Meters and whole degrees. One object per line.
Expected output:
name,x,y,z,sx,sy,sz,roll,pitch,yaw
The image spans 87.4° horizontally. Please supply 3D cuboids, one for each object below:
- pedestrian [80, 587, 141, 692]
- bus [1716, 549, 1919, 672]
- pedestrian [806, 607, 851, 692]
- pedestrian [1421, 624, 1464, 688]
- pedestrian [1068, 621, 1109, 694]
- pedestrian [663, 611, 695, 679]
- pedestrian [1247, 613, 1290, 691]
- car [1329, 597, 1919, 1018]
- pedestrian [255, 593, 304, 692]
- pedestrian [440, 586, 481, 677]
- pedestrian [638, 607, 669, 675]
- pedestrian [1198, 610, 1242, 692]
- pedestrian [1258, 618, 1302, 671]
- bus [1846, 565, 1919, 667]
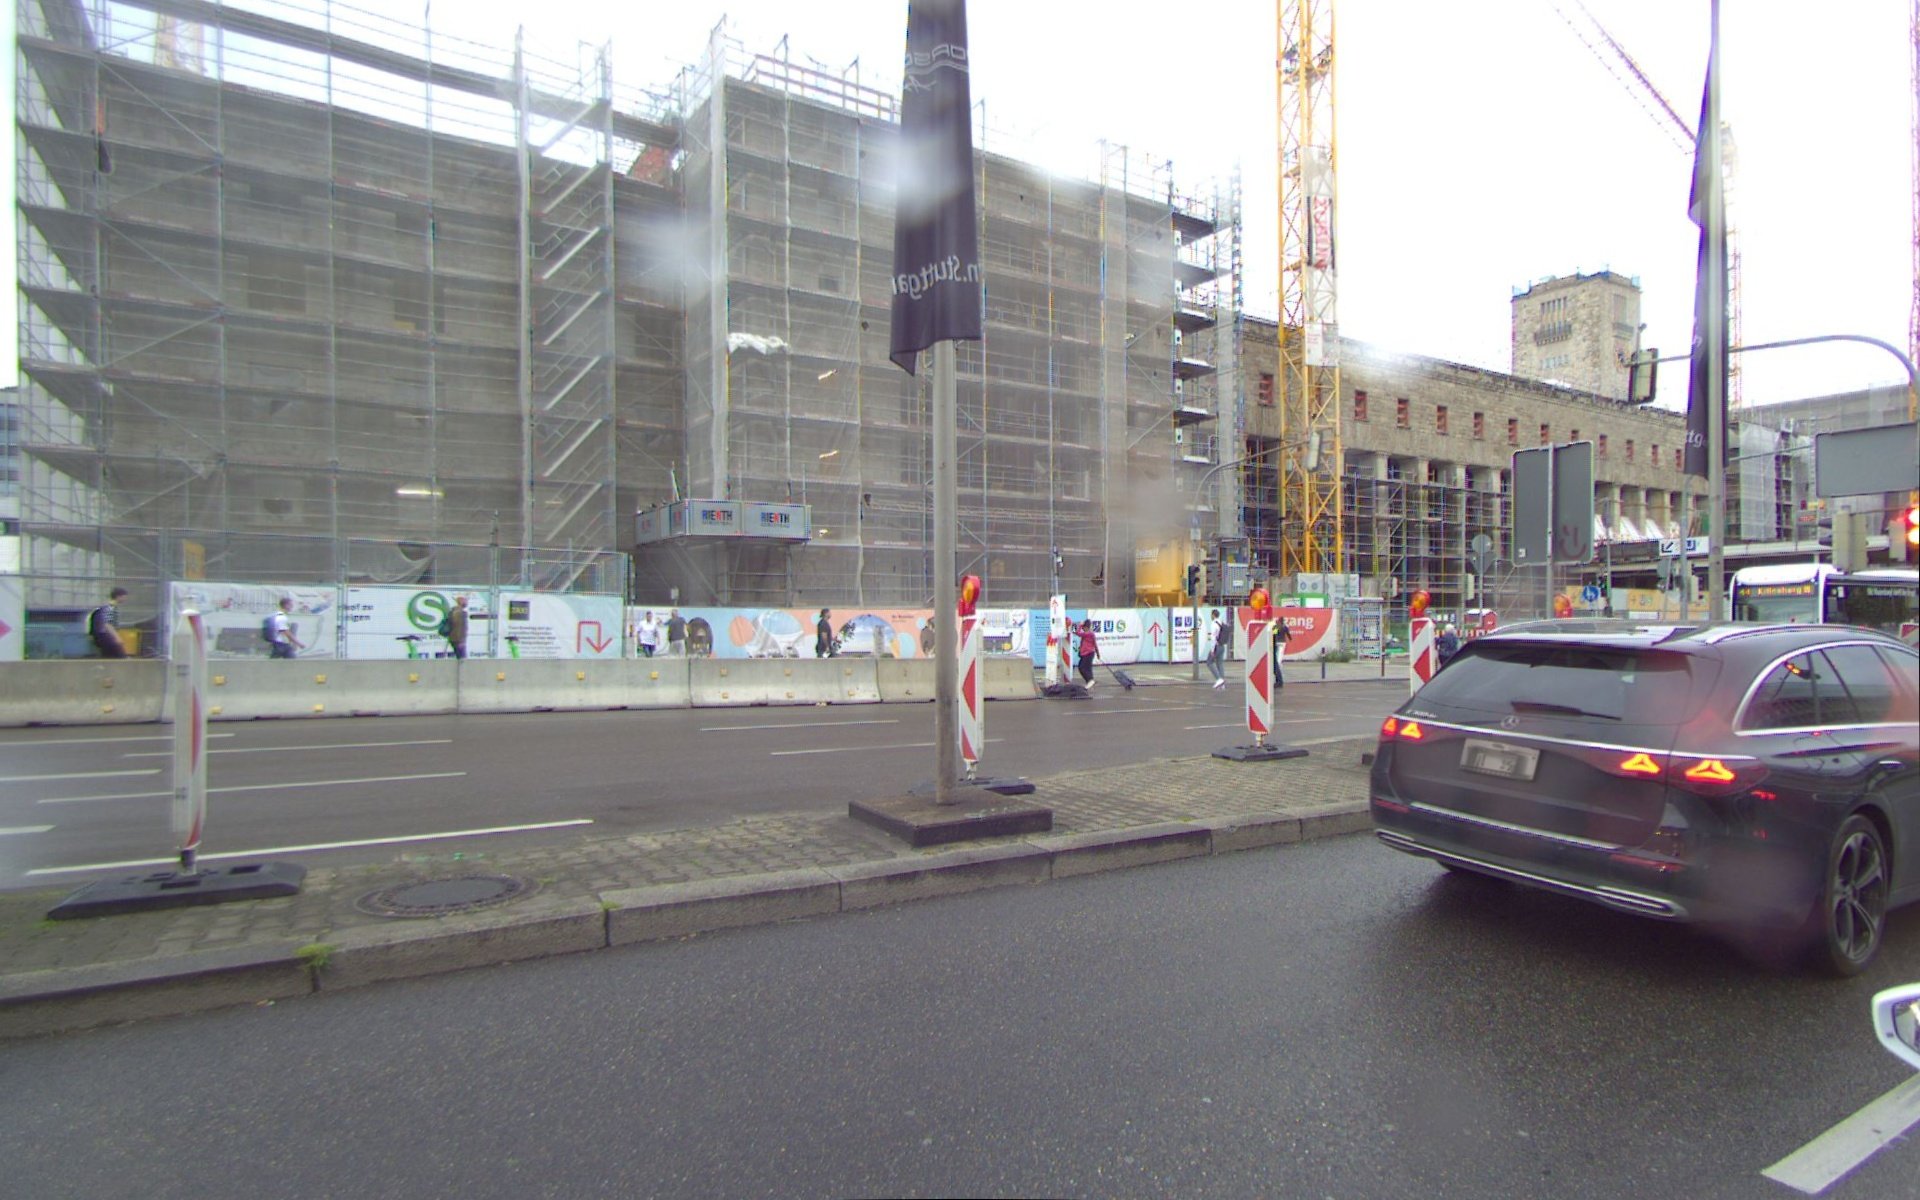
pedestrian,-15.417,0.713,18.246,0.709,1.860,0.583,1,0,-30
bus,29.324,0.427,33.642,10.119,3.650,2.655,2,0,-30
pedestrian,-2.946,1.097,22.450,0.810,1.860,0.575,1,0,-30
pedestrian,12.350,1.411,25.728,0.771,1.581,0.876,2,0,11
pedestrian,3.121,1.392,24.407,0.613,1.740,0.794,1,-2,-33
pedestrian,-7.873,1.256,28.145,0.709,1.860,0.478,1,0,-30
pedestrian,7.596,1.275,24.747,0.810,1.860,0.575,1,0,-30
car,4.331,0.798,5.545,4.533,1.489,1.846,2,0,-30
pedestrian,-13.117,0.810,19.384,0.709,1.860,0.478,1,0,-30
pedestrian,-10.359,0.650,20.834,0.709,1.860,0.478,1,0,-30
pedestrian,-8.516,1.139,27.889,0.709,1.860,0.478,1,0,-30
pedestrian,6.301,1.218,24.340,0.614,1.915,0.793,1,0,-38
pedestrian,9.917,1.374,31.154,0.890,1.584,0.909,1,0,-33
bus,38.117,0.687,38.882,10.092,3.650,2.655,2,0,-30
